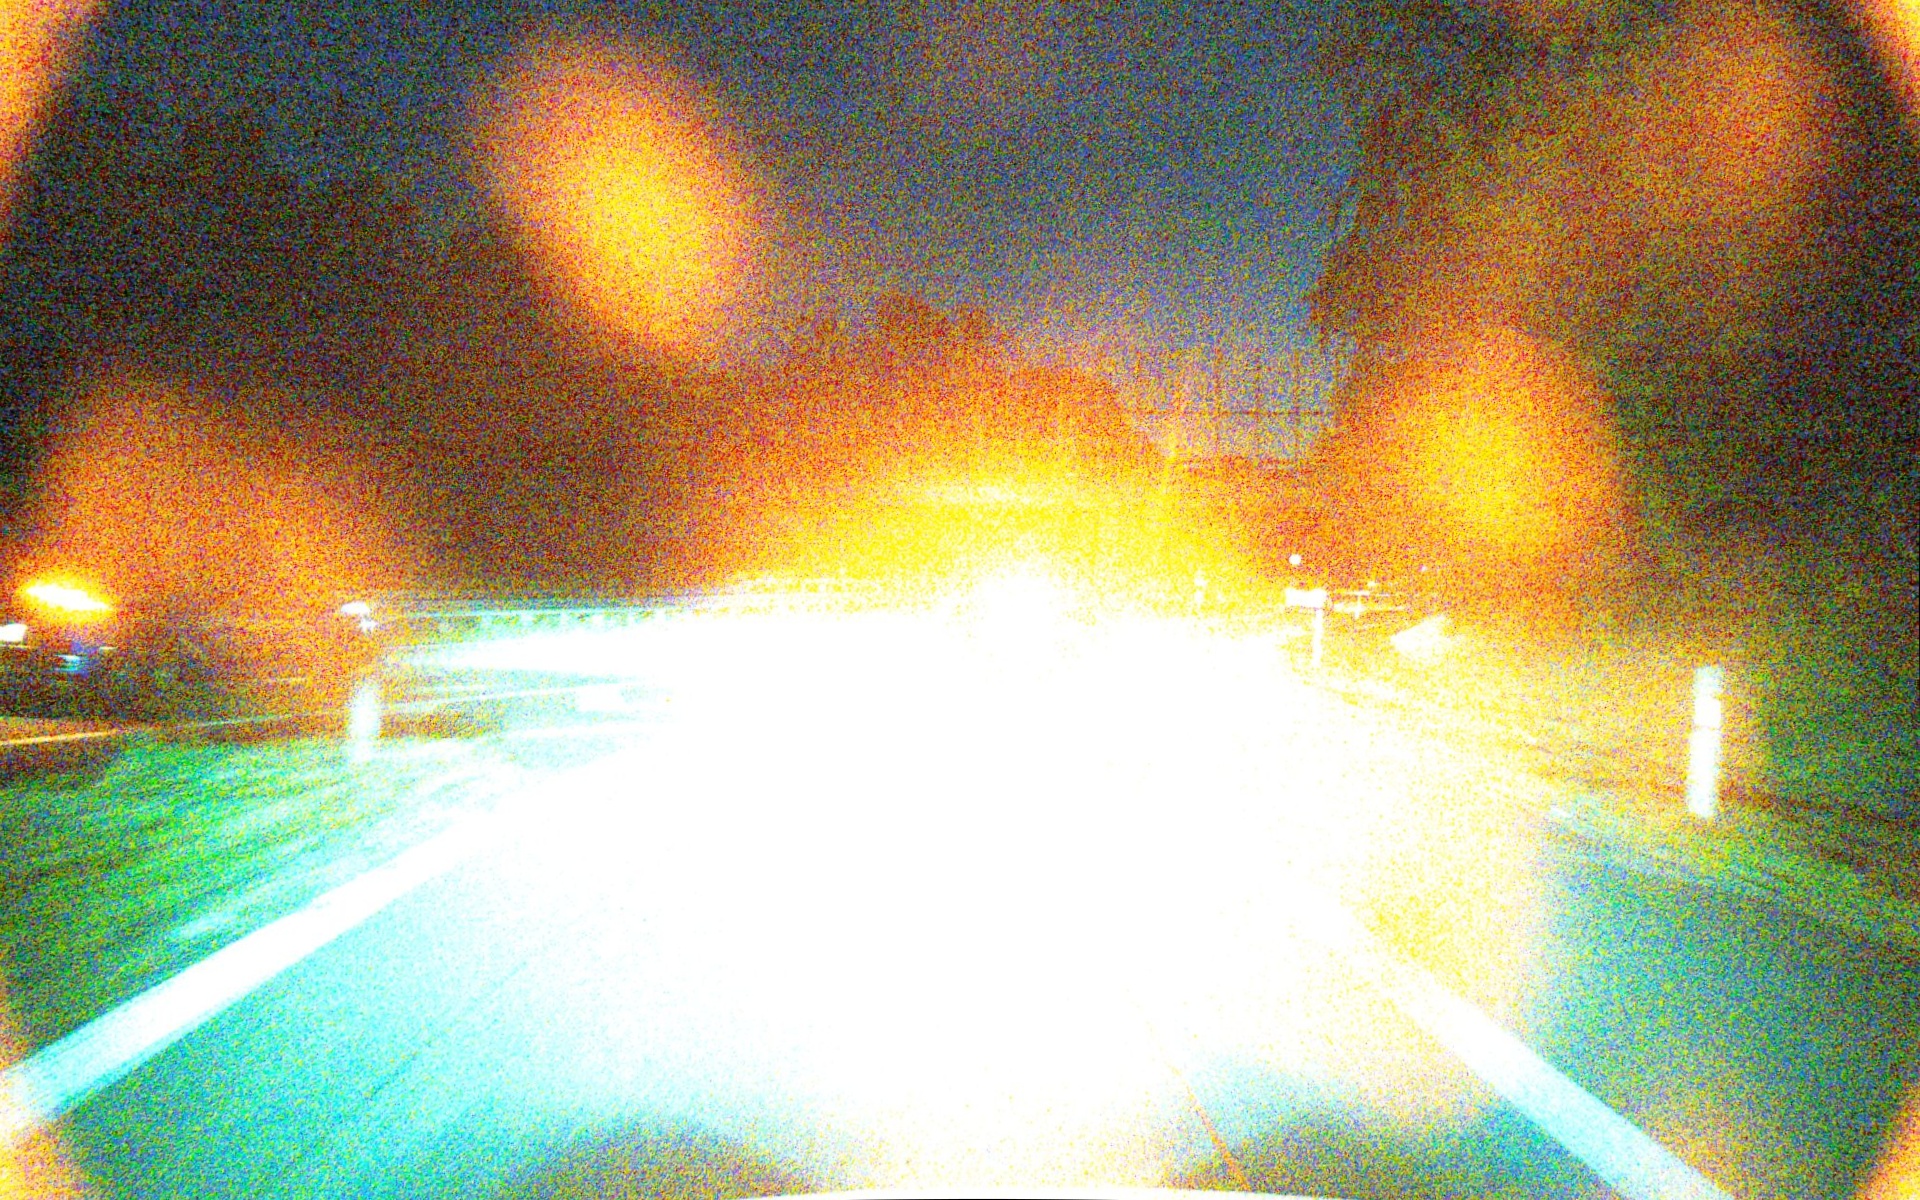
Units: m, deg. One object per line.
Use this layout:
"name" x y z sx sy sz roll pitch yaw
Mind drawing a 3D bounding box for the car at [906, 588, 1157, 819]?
"car" 0.520 0.706 13.318 1.656 1.503 4.000 3 0 1

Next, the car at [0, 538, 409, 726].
"car" -7.978 0.252 17.028 1.900 1.636 4.645 1 1 20

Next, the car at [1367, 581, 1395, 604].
"car" 31.526 -0.590 123.719 1.697 1.646 3.800 2 1 19

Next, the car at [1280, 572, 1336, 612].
"car" 15.179 -0.323 72.019 1.910 1.565 4.243 -3 -2 18
